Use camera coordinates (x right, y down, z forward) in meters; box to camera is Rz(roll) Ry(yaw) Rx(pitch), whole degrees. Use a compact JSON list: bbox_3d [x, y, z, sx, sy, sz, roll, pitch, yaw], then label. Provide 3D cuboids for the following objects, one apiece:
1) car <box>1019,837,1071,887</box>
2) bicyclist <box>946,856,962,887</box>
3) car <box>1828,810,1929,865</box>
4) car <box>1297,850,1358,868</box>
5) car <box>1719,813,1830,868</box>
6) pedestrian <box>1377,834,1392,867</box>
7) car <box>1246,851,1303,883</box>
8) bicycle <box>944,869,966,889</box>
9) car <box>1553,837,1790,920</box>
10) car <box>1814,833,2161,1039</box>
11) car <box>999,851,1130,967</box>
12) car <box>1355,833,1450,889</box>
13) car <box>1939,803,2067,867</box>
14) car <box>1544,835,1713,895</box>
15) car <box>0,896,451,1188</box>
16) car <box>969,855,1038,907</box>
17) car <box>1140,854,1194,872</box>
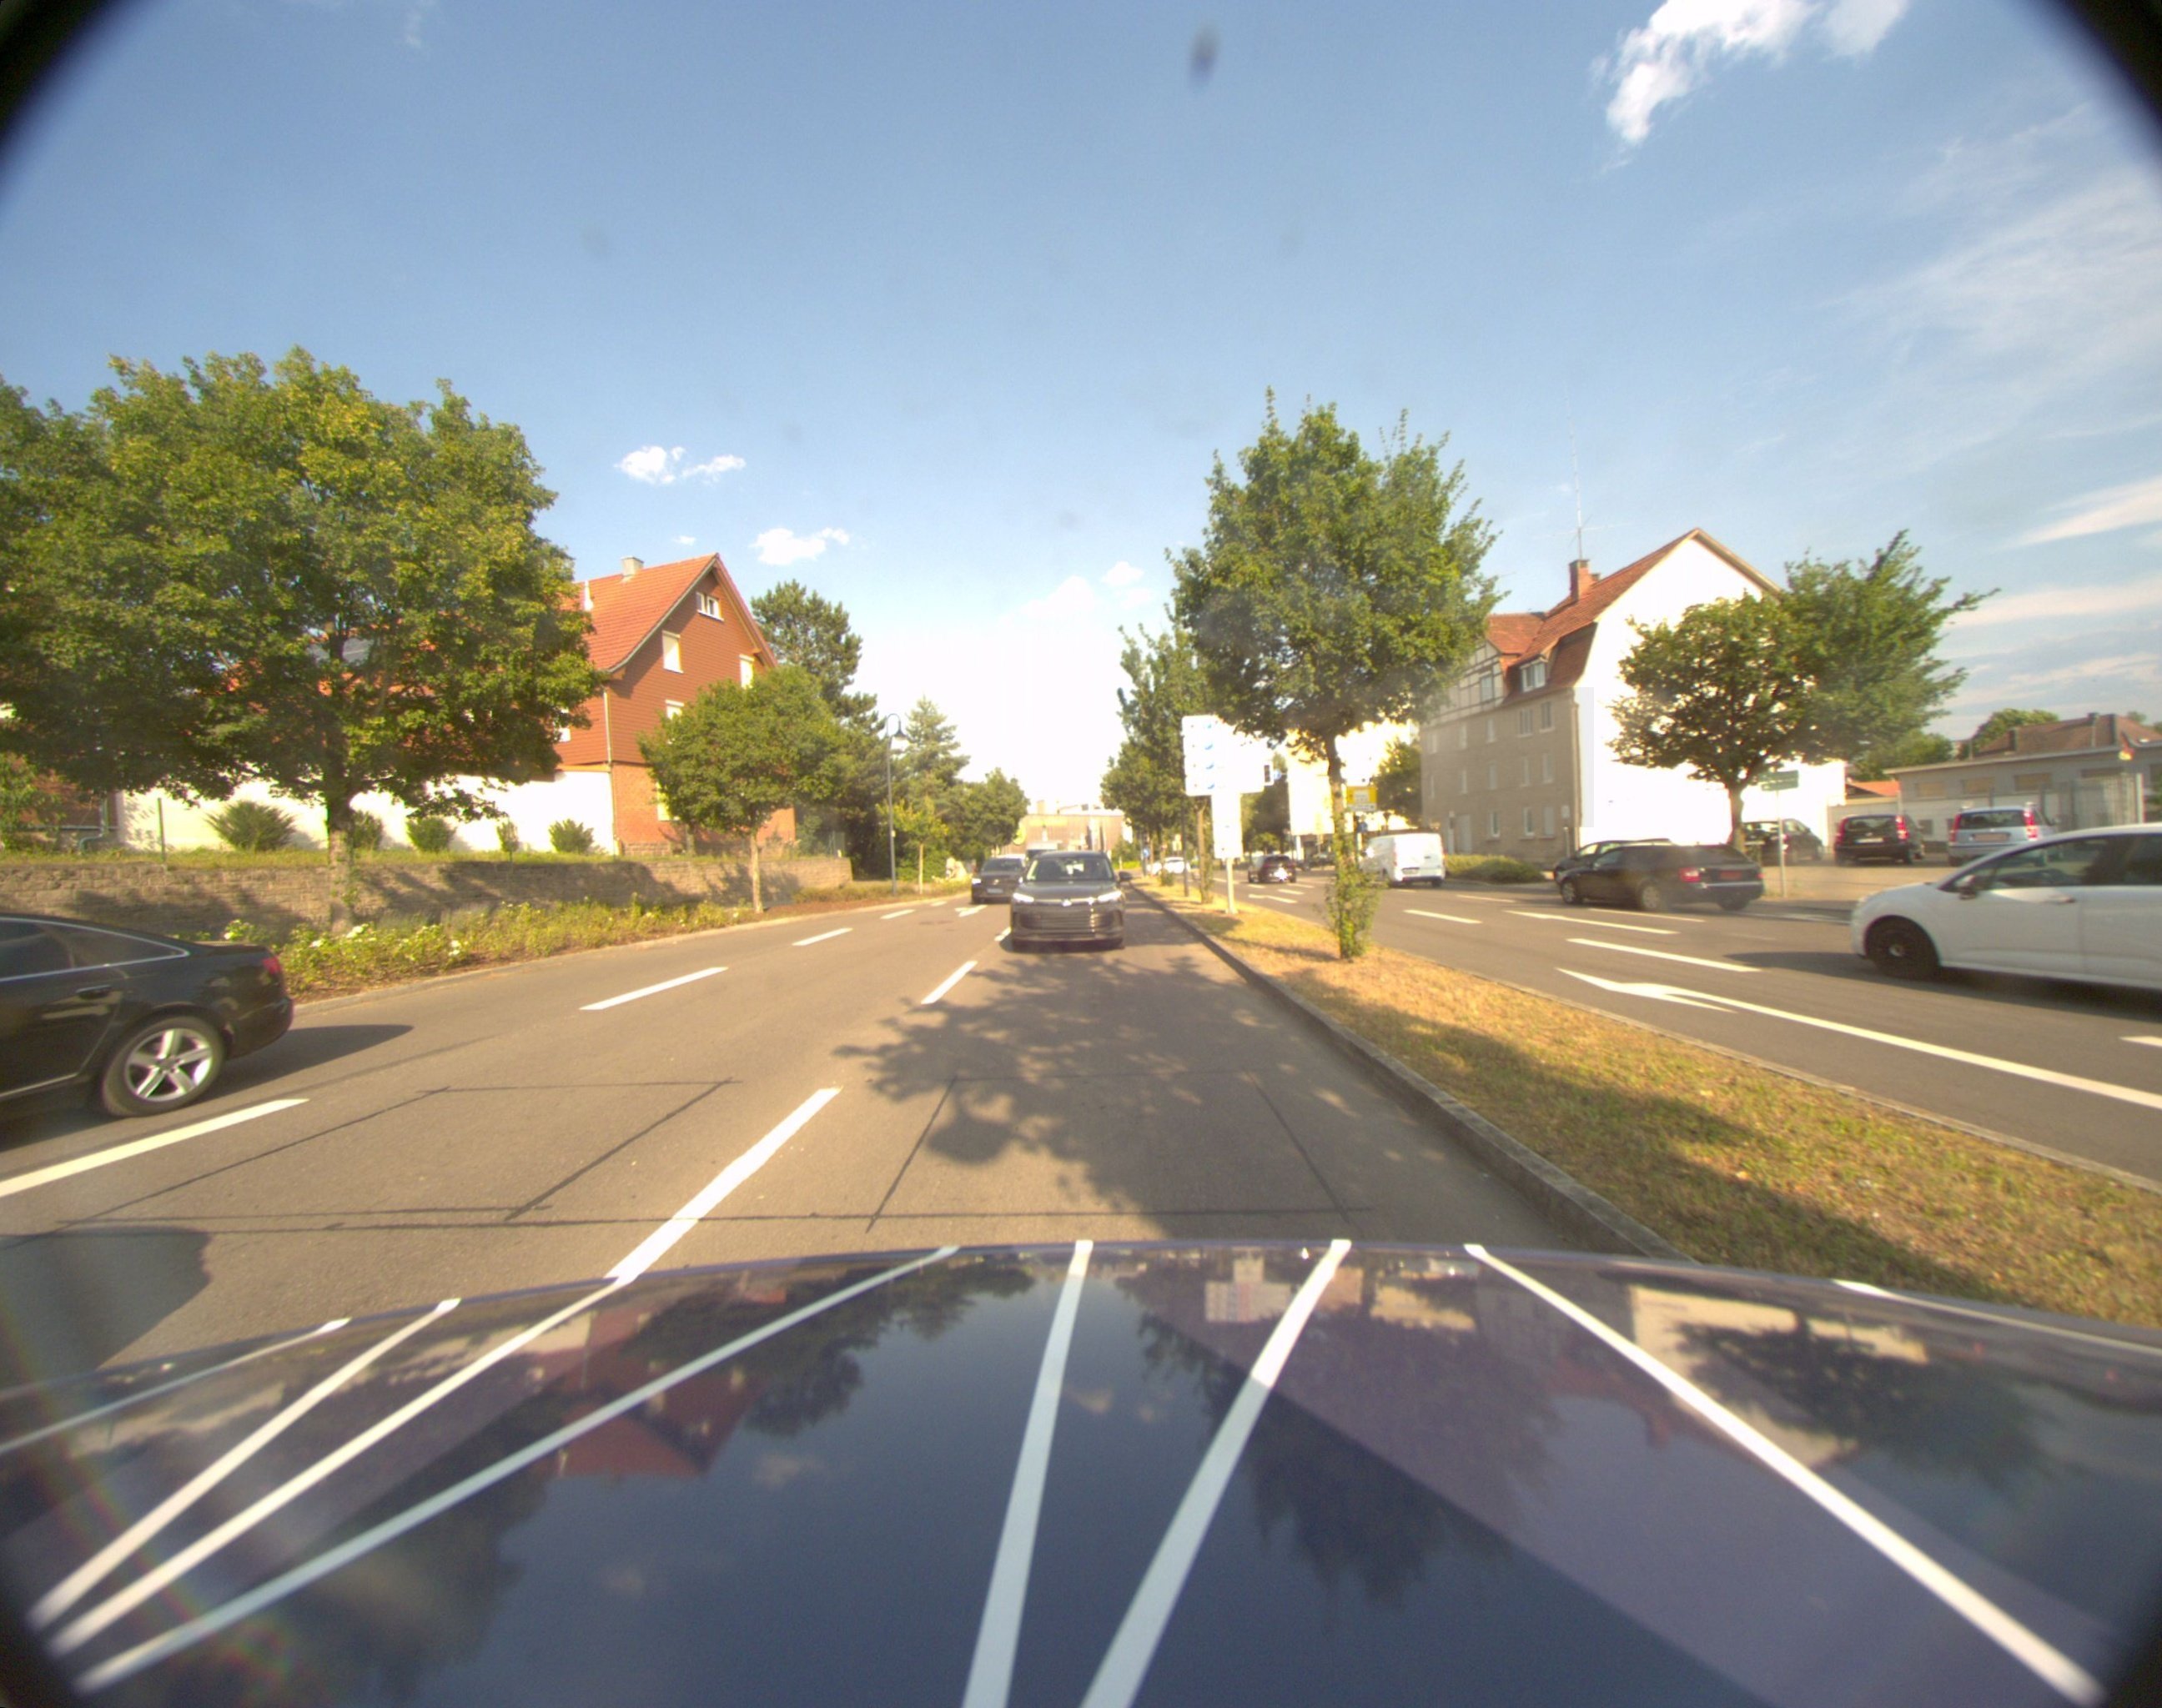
[{"bbox_3d":[-1.926,0.395,43.017,2.370,2.532,6.192,-2,1,1],"label":"car"},{"bbox_3d":[-7.154,0.990,42.781,0.603,1.668,0.735,-2,1,13],"label":"bicyclist"},{"bbox_3d":[24.560,-0.525,23.361,4.007,1.543,1.763,-3,1,-38],"label":"car"},{"bbox_3d":[20.901,0.400,64.614,4.660,1.346,1.768,-2,1,9],"label":"car"},{"bbox_3d":[23.220,-0.465,25.405,4.006,1.543,1.764,-5,1,-33],"label":"car"},{"bbox_3d":[18.741,-0.231,46.885,0.698,1.971,0.589,-2,1,12],"label":"pedestrian"},{"bbox_3d":[9.517,0.615,37.684,1.773,1.442,4.108,-2,0,0],"label":"car"},{"bbox_3d":[-7.109,1.406,42.867,0.522,1.012,1.877,-2,1,13],"label":"bicycle"},{"bbox_3d":[12.347,0.441,16.313,1.811,1.488,4.245,-2,0,1],"label":"car"},{"bbox_3d":[8.946,0.594,6.374,1.805,1.488,3.955,-2,0,1],"label":"car"},{"bbox_3d":[-0.196,0.808,13.677,1.894,1.647,4.729,-2,0,1],"label":"car"},{"bbox_3d":[12.154,0.228,29.079,1.827,1.912,4.946,-2,0,5],"label":"car"},{"bbox_3d":[24.842,-0.526,20.440,4.006,1.543,1.763,-3,1,-33],"label":"car"},{"bbox_3d":[15.820,0.285,22.281,1.839,1.436,4.195,-5,0,1],"label":"car"},{"bbox_3d":[-6.841,1.158,4.882,1.685,1.427,4.589,-2,0,0],"label":"car"},{"bbox_3d":[-2.694,0.901,27.163,1.886,1.599,4.127,-2,0,1],"label":"car"},{"bbox_3d":[7.282,0.754,64.363,4.135,1.346,1.764,-2,1,-23],"label":"car"}]
